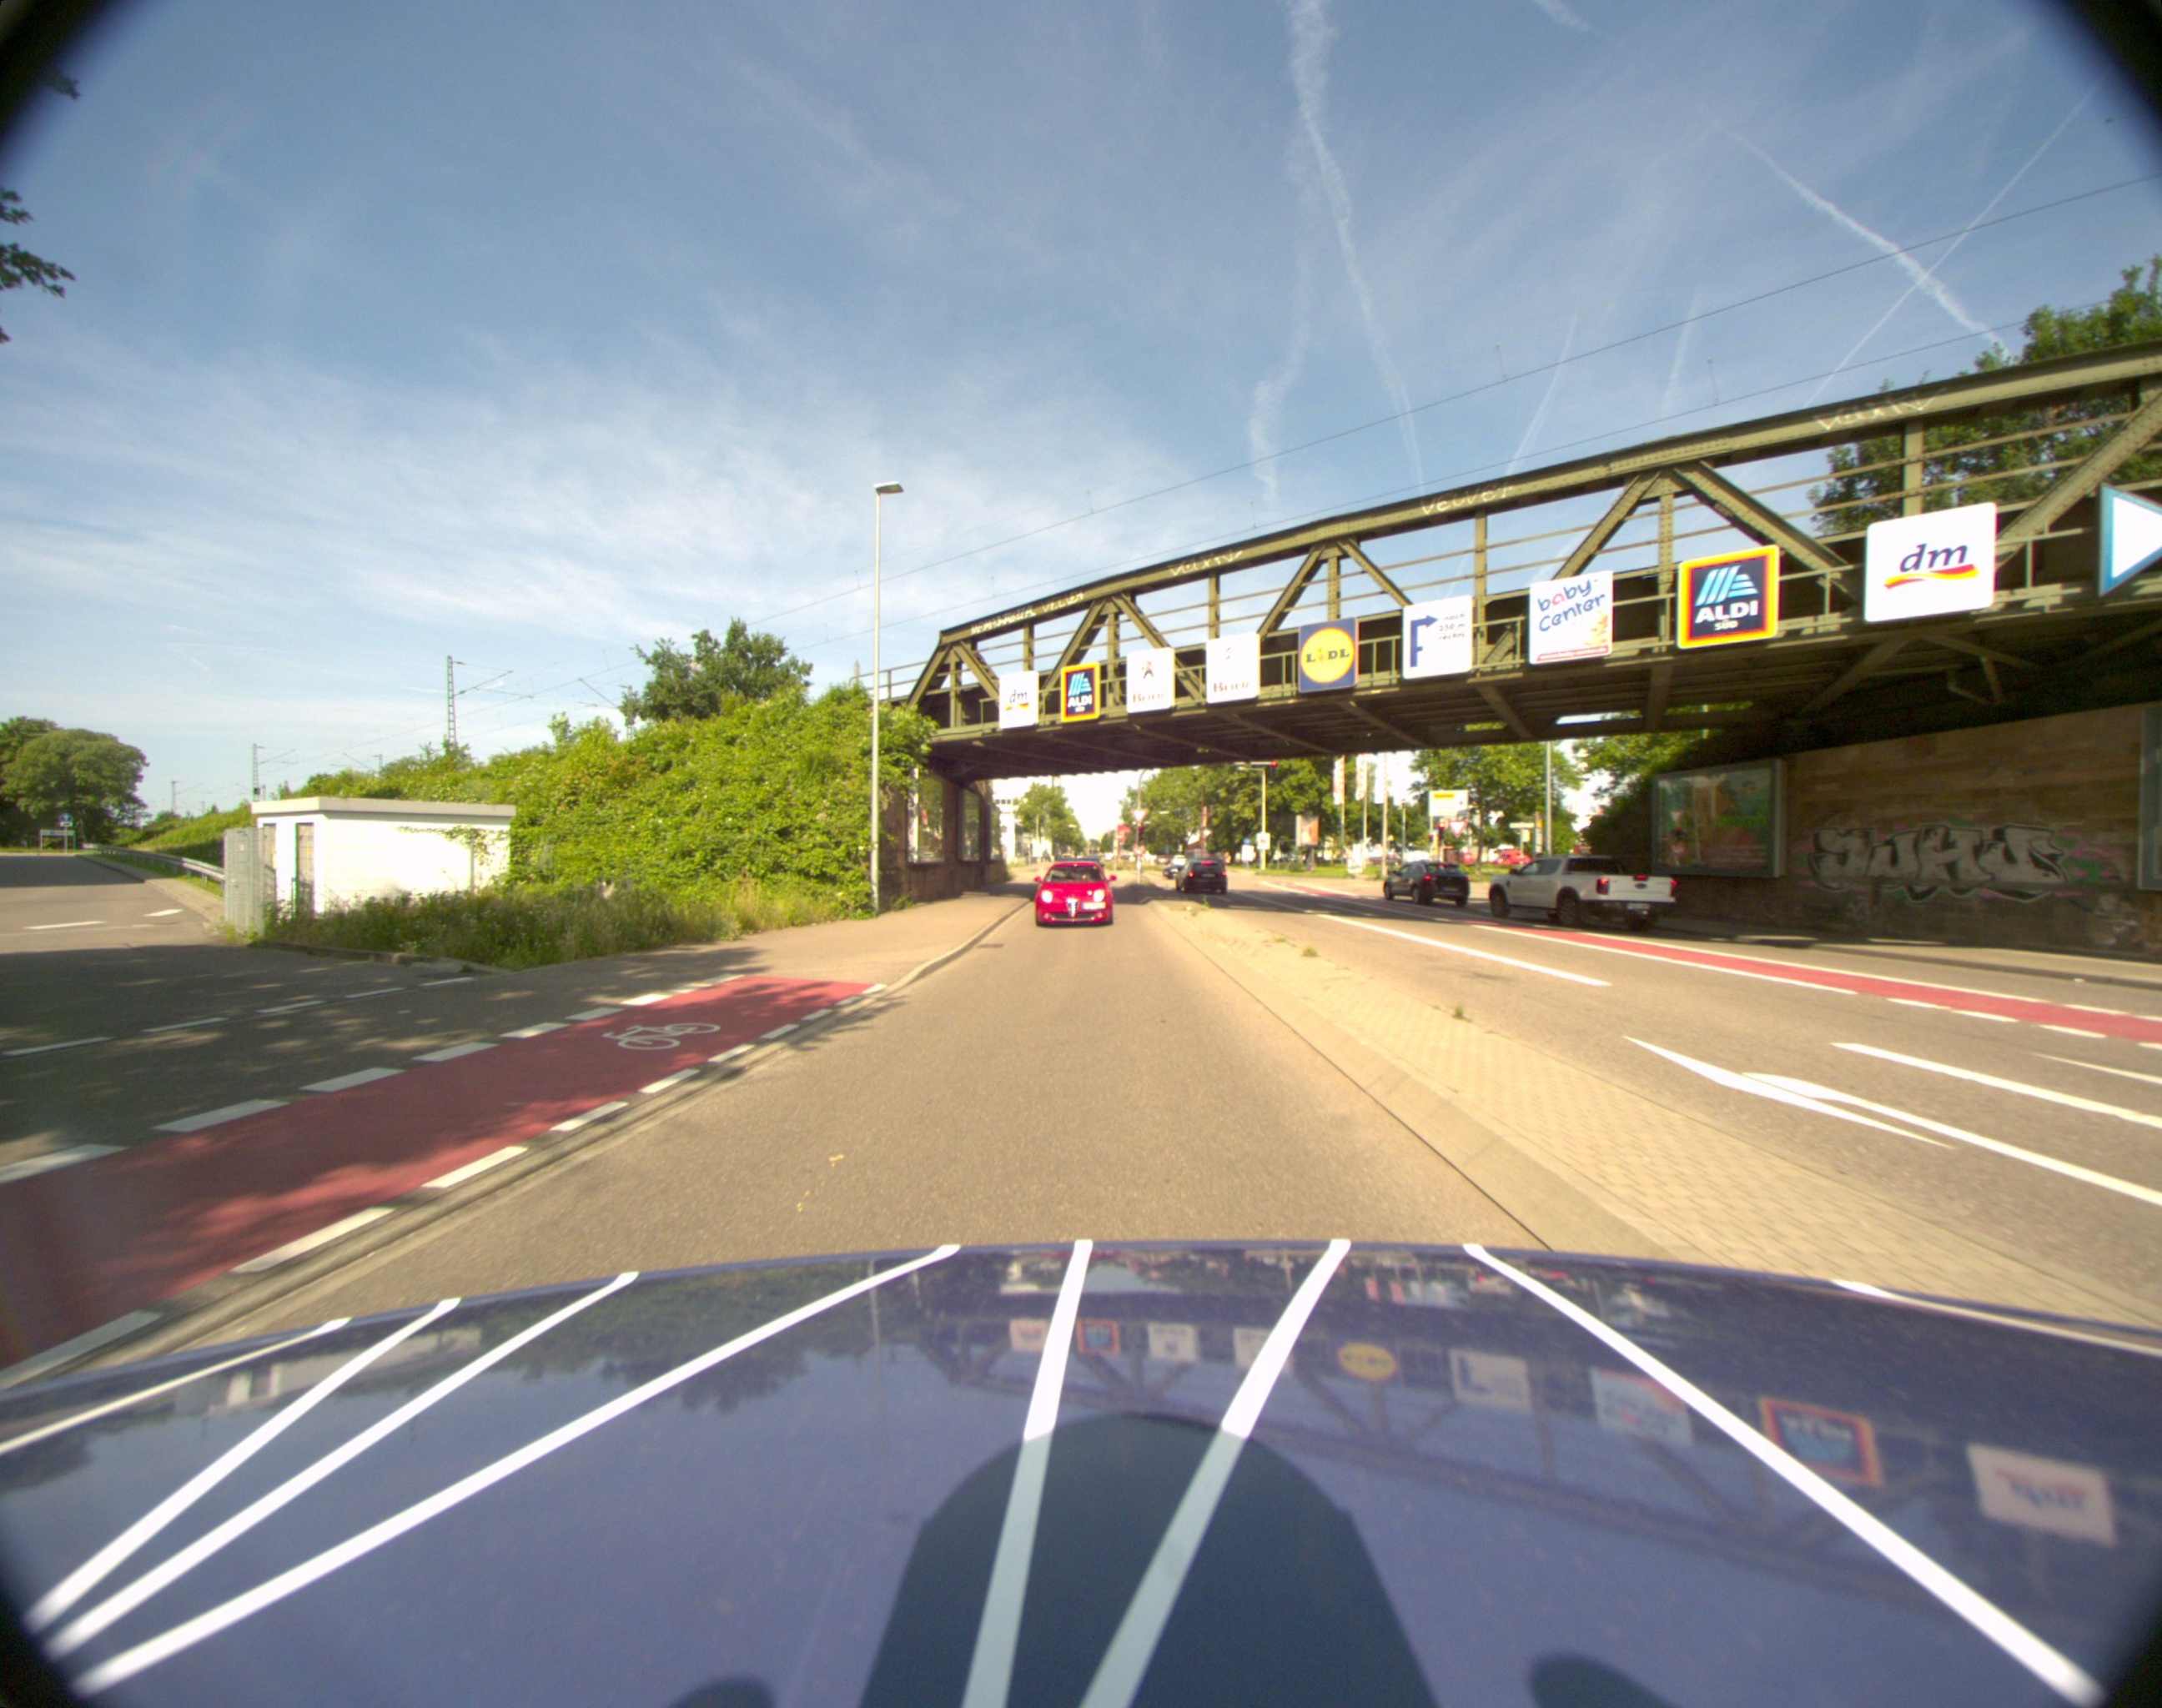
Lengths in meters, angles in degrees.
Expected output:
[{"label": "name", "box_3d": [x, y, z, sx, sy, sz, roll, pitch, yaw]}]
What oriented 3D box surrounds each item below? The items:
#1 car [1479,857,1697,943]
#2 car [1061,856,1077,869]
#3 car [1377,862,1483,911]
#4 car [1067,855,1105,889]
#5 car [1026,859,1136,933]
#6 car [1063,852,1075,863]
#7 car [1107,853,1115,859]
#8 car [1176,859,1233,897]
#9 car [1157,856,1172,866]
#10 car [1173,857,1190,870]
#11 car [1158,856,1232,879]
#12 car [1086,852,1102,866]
[{"label": "car", "box_3d": [12.908, 1.053, 19.934, 1.998, 1.850, 5.450, 2, 0, 0]}, {"label": "car", "box_3d": [-1.468, 1.005, 93.861, 1.824, 1.569, 4.246, 1, 0, 0]}, {"label": "car", "box_3d": [12.739, 1.136, 28.091, 1.877, 1.586, 4.387, 0, 0, 0]}, {"label": "car", "box_3d": [0.306, 0.909, 39.799, 1.824, 1.632, 4.112, -1, 0, 1]}, {"label": "car", "box_3d": [0.125, 0.908, 18.045, 1.796, 1.446, 3.982, -1, 1, 12]}, {"label": "car", "box_3d": [-1.771, 0.495, 115.379, 1.824, 1.569, 4.246, 1, 0, 0]}, {"label": "car", "box_3d": [8.444, 0.479, 213.001, 1.927, 1.507, 3.824, -1, 0, -2]}, {"label": "car", "box_3d": [5.252, 1.007, 32.831, 1.785, 1.438, 4.120, 1, 1, 1]}, {"label": "car", "box_3d": [14.325, 1.226, 130.404, 1.927, 1.711, 3.824, -1, 0, -2]}, {"label": "car", "box_3d": [13.991, 1.314, 105.971, 1.824, 1.711, 3.636, -1, 0, -2]}, {"label": "car", "box_3d": [7.933, 0.939, 52.944, 4.932, 1.564, 1.700, 1, 1, -22]}, {"label": "car", "box_3d": [1.480, 0.558, 88.012, 1.824, 1.467, 4.246, 1, 0, 0]}]
